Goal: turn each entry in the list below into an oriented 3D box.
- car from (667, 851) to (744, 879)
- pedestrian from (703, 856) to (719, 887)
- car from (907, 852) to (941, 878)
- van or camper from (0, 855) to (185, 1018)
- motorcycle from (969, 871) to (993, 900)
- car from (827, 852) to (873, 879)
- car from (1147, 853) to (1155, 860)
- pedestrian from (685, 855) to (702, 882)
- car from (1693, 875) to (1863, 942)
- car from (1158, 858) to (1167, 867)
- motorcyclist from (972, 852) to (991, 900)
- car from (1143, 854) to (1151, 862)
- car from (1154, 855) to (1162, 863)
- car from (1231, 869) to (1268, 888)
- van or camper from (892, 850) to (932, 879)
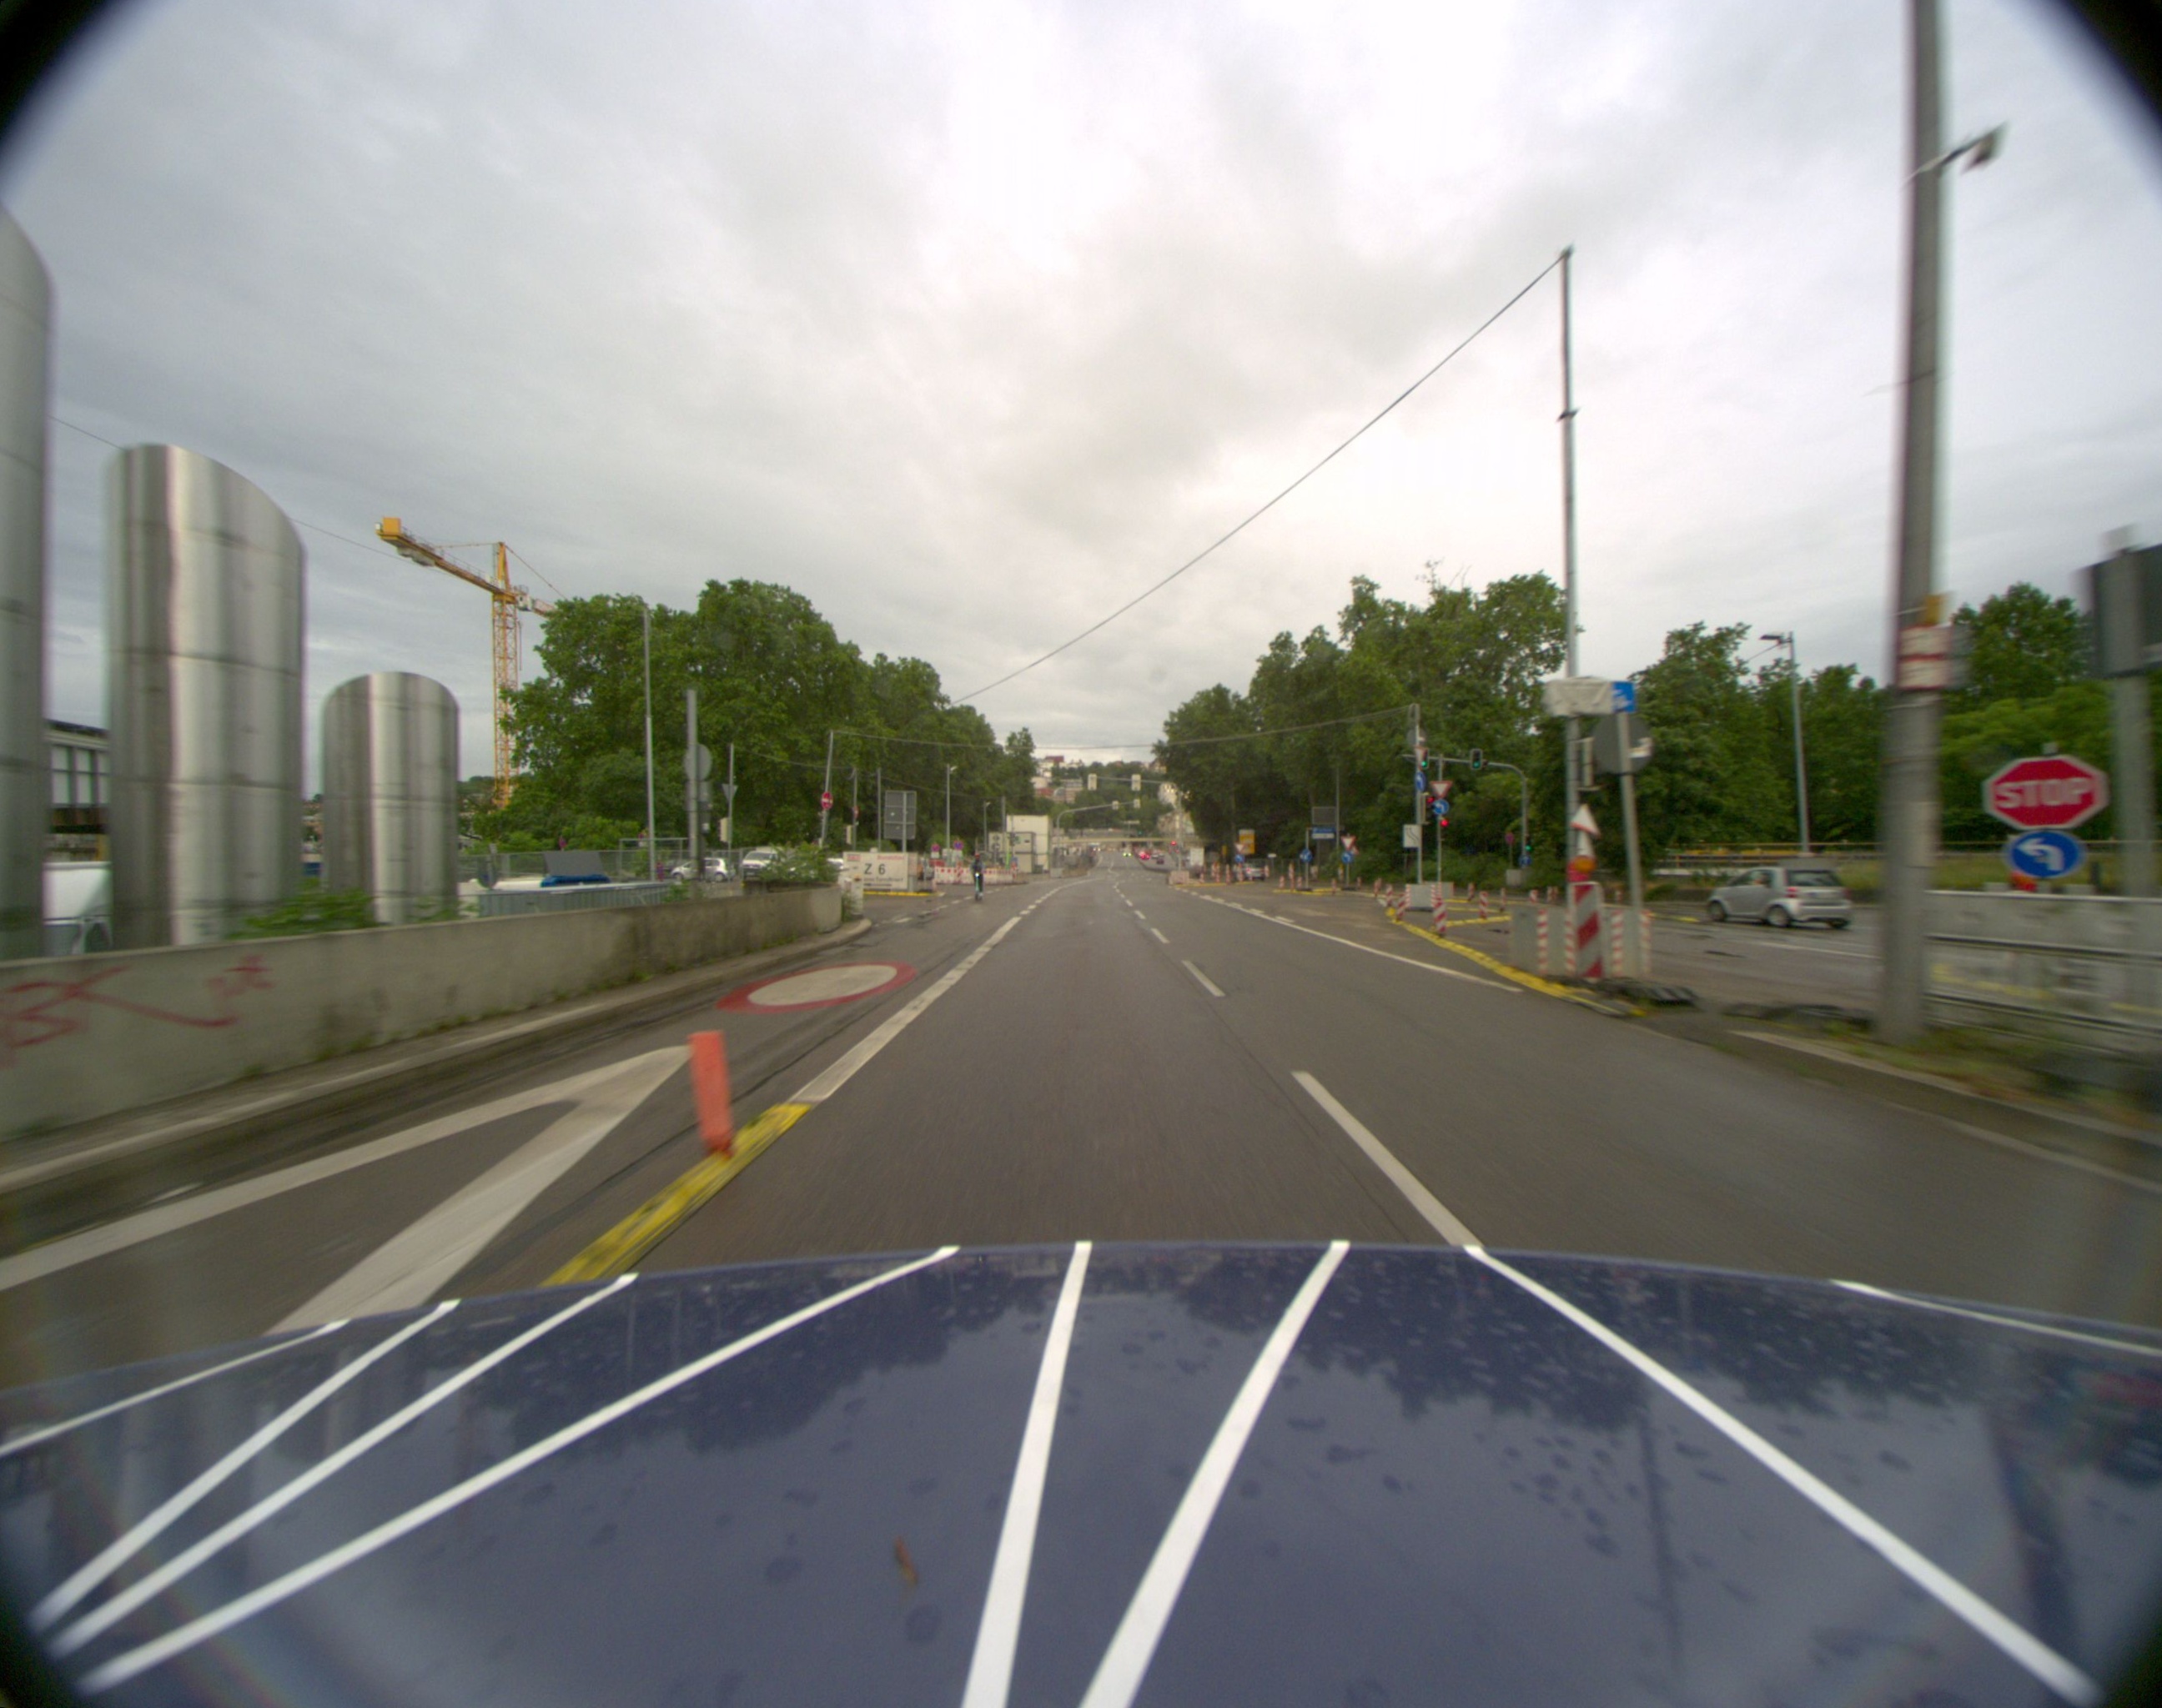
[{"bbox_3d":[-22.830,0.674,46.282,3.729,1.627,1.999,1,-2,-7],"label":"car"},{"bbox_3d":[-21.899,1.044,44.955,0.652,1.859,0.662,1,-1,-7],"label":"pedestrian"},{"bbox_3d":[-12.683,0.921,61.535,1.999,2.054,4.190,1,-2,-2],"label":"car"},{"bbox_3d":[-18.104,1.248,13.072,2.391,2.387,6.047,2,-2,-40],"label":"van or camper"},{"bbox_3d":[-4.259,1.333,32.479,0.730,1.221,2.161,0,-2,1],"label":"motorcycle"},{"bbox_3d":[-14.468,0.753,47.804,2.000,1.627,4.188,1,-2,-7],"label":"car"},{"bbox_3d":[21.865,0.919,237.863,1.998,2.001,4.001,-2,-1,2],"label":"car"},{"bbox_3d":[-22.922,0.873,44.931,0.652,1.564,0.662,1,-1,-7],"label":"pedestrian"},{"bbox_3d":[18.106,1.365,19.942,1.682,1.533,3.174,0,0,4],"label":"car"},{"bbox_3d":[19.345,2.034,180.471,1.998,2.001,4.001,-2,-1,2],"label":"car"},{"bbox_3d":[-4.255,0.929,32.505,0.726,2.024,0.587,0,-1,0],"label":"motorcyclist"},{"bbox_3d":[17.877,1.188,206.584,1.998,2.001,4.001,-2,-1,2],"label":"car"},{"bbox_3d":[21.780,1.378,215.326,1.998,2.001,4.001,-2,-1,2],"label":"car"},{"bbox_3d":[14.506,2.133,65.656,1.664,1.533,4.157,-1,-3,-9],"label":"car"},{"bbox_3d":[-12.439,0.839,56.334,2.123,2.016,5.012,1,-2,-4],"label":"van or camper"}]
